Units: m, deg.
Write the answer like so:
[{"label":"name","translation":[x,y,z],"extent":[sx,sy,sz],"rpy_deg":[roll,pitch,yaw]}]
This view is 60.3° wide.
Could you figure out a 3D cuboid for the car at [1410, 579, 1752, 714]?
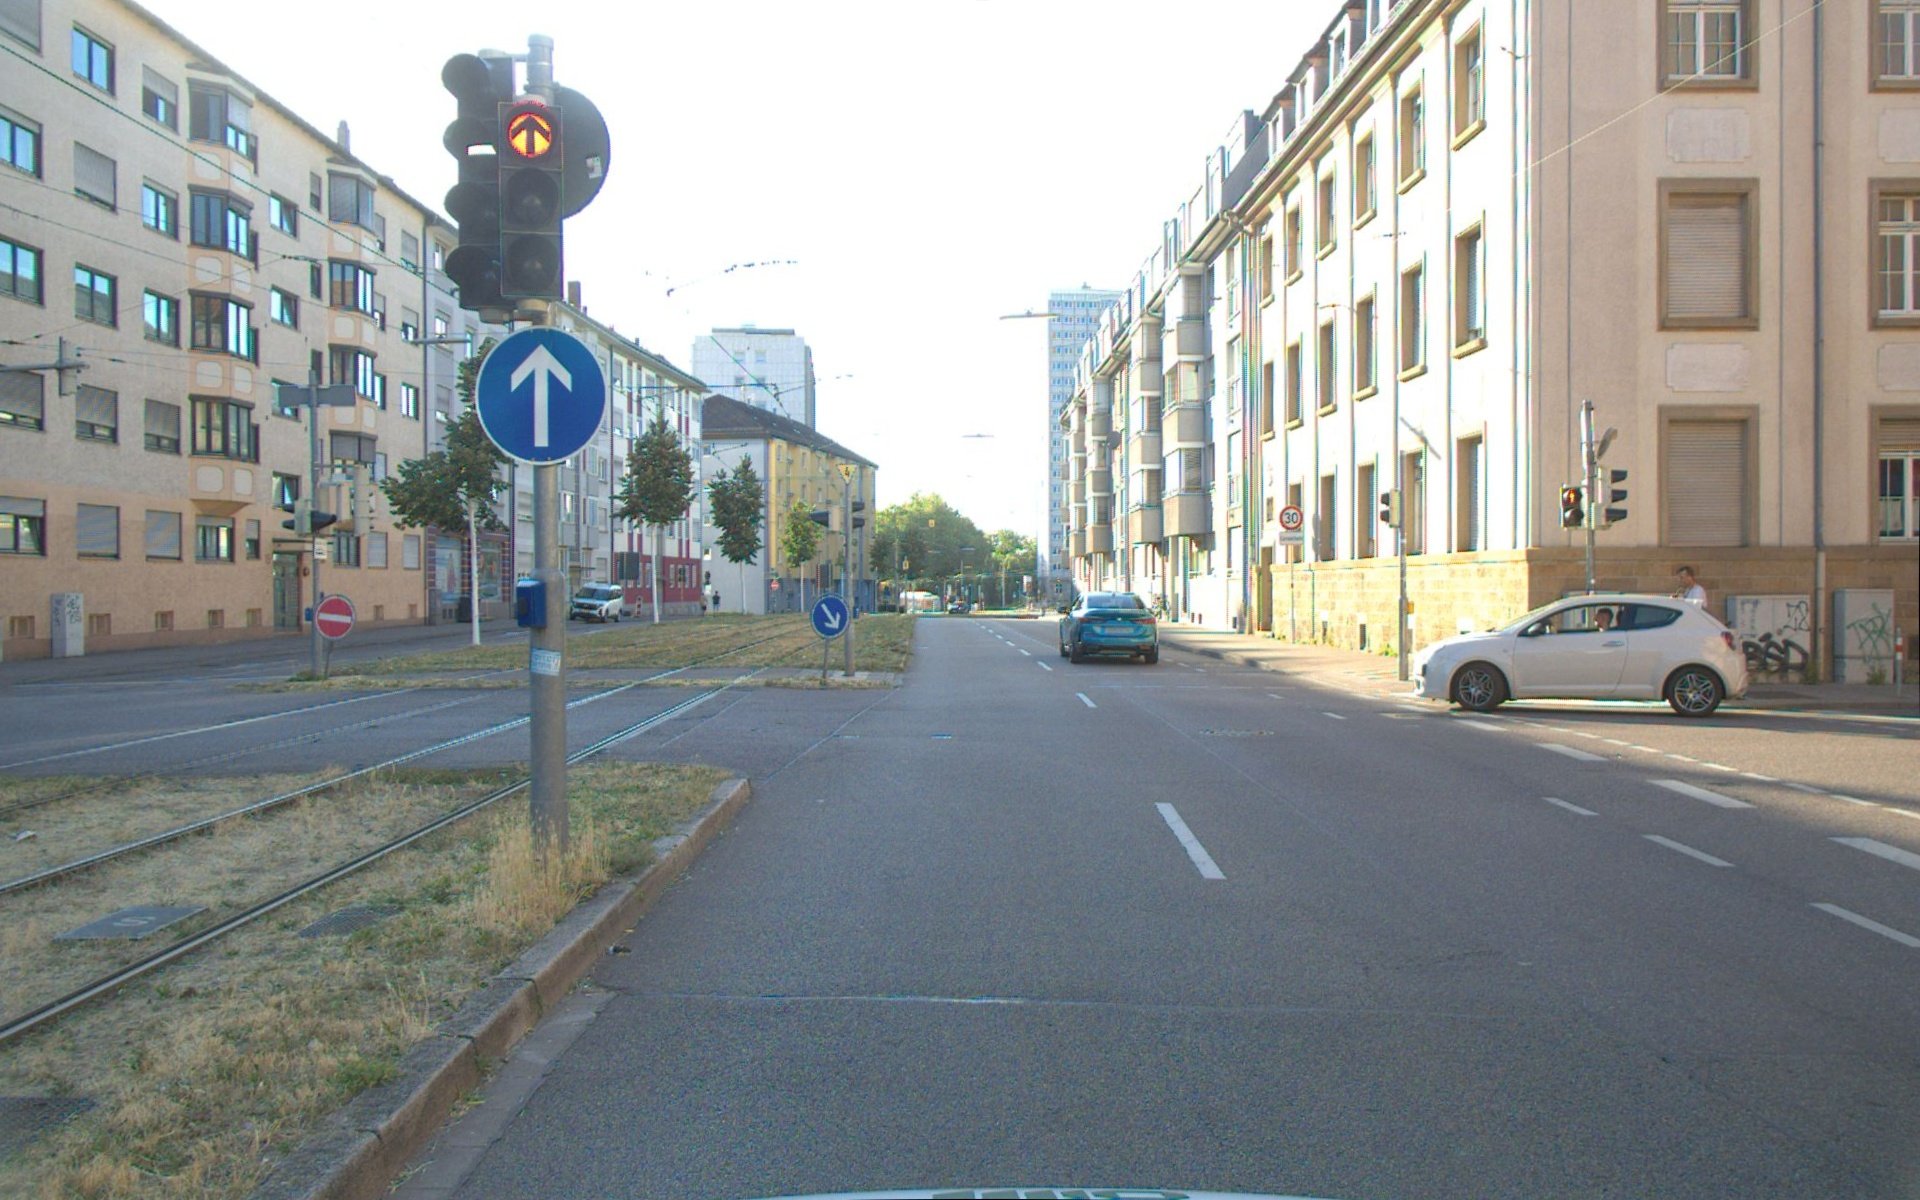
[{"label":"car","translation":[7.844,0.562,21.117],"extent":[3.904,1.591,2.000],"rpy_deg":[0,-1,20]}]

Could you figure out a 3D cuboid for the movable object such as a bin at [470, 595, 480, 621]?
[{"label":"movable object such as a bin","translation":[-20.091,0.343,68.481],"extent":[0.292,1.054,0.441],"rpy_deg":[1,-1,-2]}]

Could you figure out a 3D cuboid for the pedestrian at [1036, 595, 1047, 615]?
[{"label":"pedestrian","translation":[5.108,0.325,103.699],"extent":[0.677,1.256,0.736],"rpy_deg":[1,0,0]}]

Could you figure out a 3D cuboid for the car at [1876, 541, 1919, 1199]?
[{"label":"car","translation":[2.838,0.706,1.447],"extent":[1.663,1.580,4.225],"rpy_deg":[2,0,-1]}]

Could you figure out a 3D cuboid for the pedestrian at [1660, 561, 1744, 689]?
[{"label":"pedestrian","translation":[10.685,0.356,23.834],"extent":[0.818,1.793,0.824],"rpy_deg":[1,-1,-1]}]

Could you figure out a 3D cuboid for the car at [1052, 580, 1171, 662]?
[{"label":"car","translation":[3.109,0.423,34.774],"extent":[1.953,1.581,4.392],"rpy_deg":[1,0,-2]}]

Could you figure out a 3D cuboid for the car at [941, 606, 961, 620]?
[{"label":"car","translation":[-1.155,1.676,206.626],"extent":[1.857,1.662,4.751],"rpy_deg":[-1,0,7]}]

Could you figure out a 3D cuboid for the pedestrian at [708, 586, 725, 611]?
[{"label":"pedestrian","translation":[-16.866,-0.112,114.743],"extent":[0.942,1.699,1.011],"rpy_deg":[1,0,4]}]

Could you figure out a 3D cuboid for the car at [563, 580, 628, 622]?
[{"label":"car","translation":[-17.898,0.049,81.336],"extent":[1.952,1.958,4.543],"rpy_deg":[1,0,3]}]

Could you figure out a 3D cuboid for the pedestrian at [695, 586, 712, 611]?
[{"label":"pedestrian","translation":[-17.753,-0.127,114.556],"extent":[0.942,1.723,1.011],"rpy_deg":[1,0,4]}]

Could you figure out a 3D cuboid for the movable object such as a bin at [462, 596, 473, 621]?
[{"label":"movable object such as a bin","translation":[-20.250,0.351,68.020],"extent":[0.292,1.054,0.441],"rpy_deg":[1,-1,2]}]

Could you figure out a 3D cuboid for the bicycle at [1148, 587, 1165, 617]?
[{"label":"bicycle","translation":[7.358,0.086,61.981],"extent":[0.376,1.115,1.503],"rpy_deg":[-1,0,-3]}]
